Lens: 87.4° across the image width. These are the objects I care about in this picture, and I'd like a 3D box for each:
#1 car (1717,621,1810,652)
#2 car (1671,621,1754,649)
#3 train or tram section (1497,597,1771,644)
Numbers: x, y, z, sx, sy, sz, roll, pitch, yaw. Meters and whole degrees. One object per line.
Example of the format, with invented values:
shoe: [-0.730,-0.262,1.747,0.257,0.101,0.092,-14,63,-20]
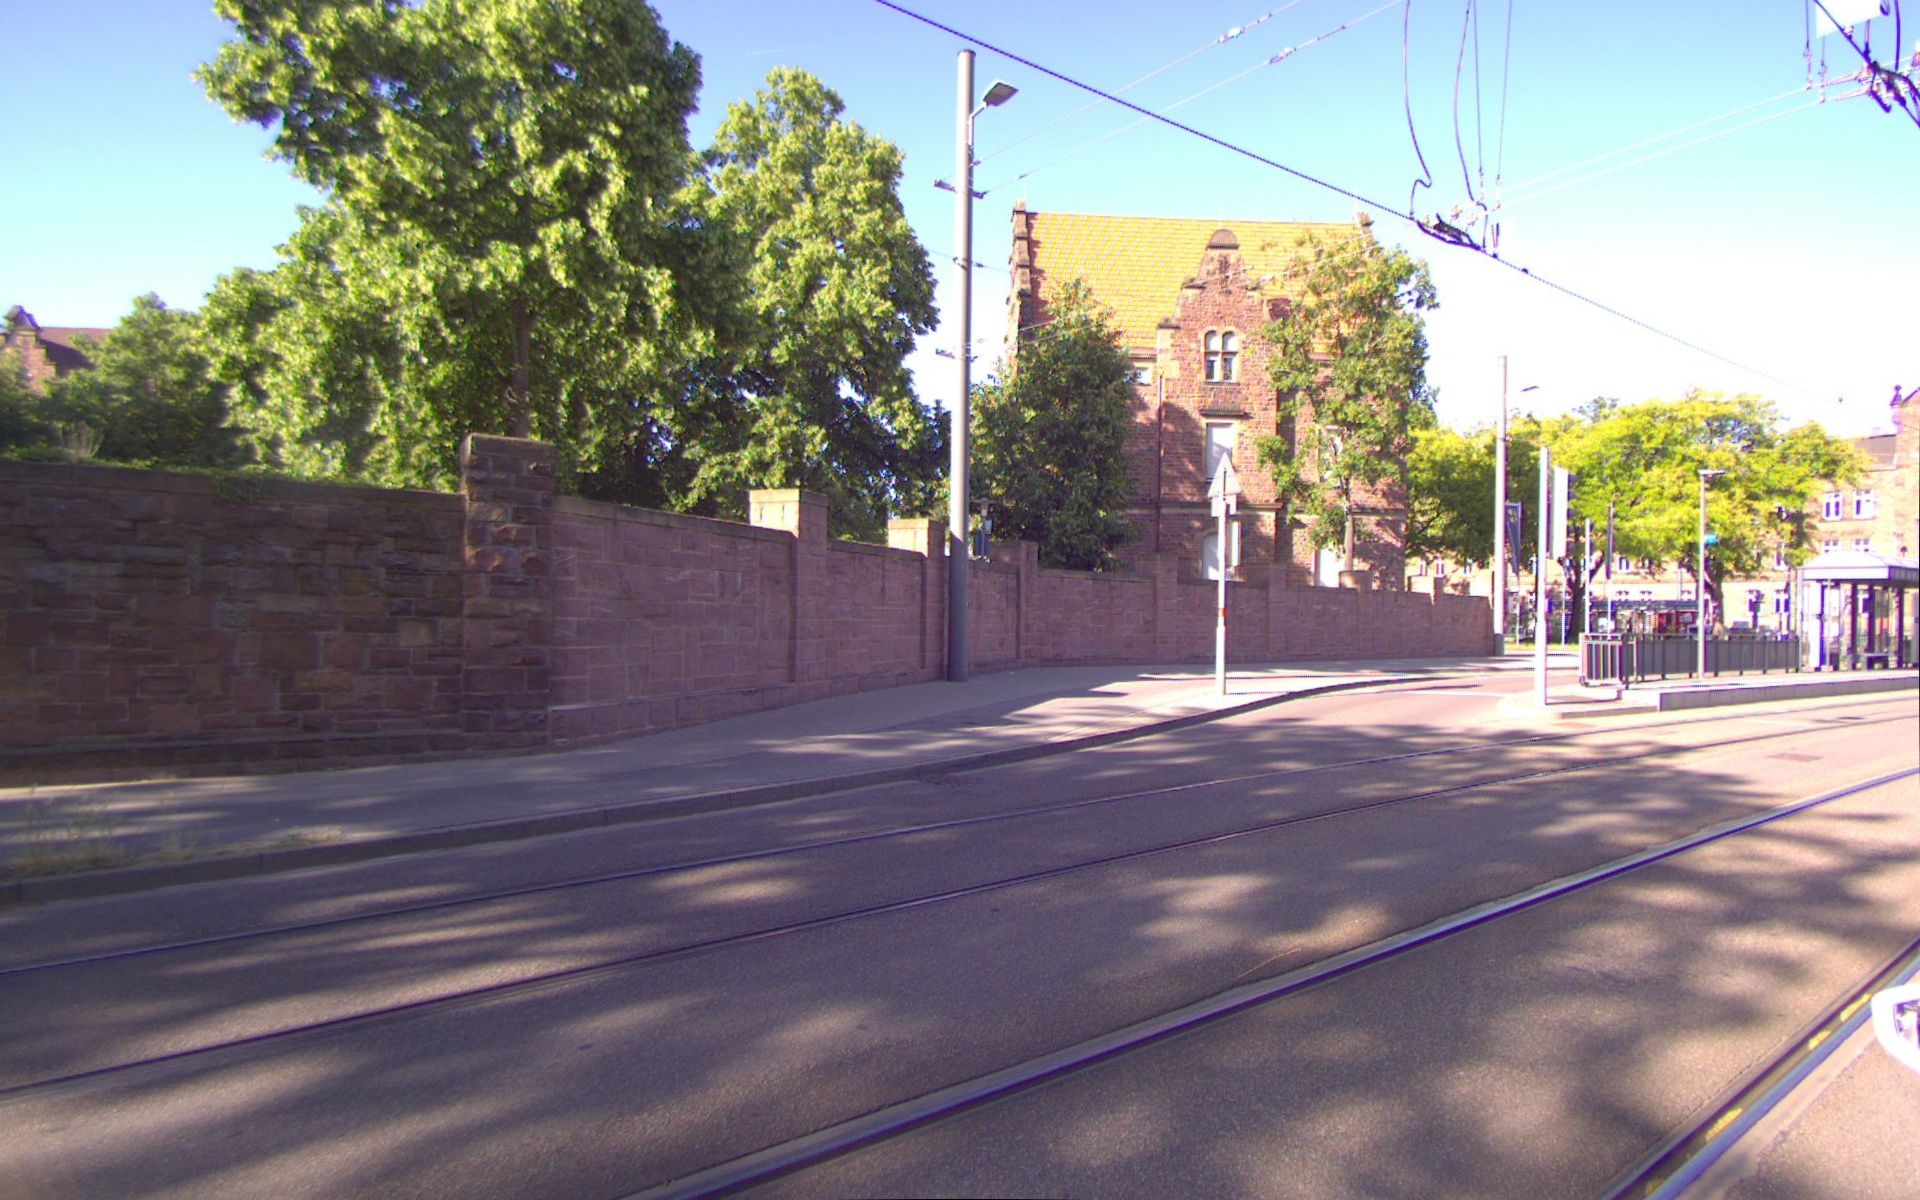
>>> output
car: [47.765,2.160,59.801,1.798,1.651,3.964,2,0,-32]
car: [49.191,2.243,65.685,1.798,1.651,3.964,2,0,-32]
train or tram section: [50.041,1.460,75.889,3.312,3.196,17.280,2,-1,-33]
